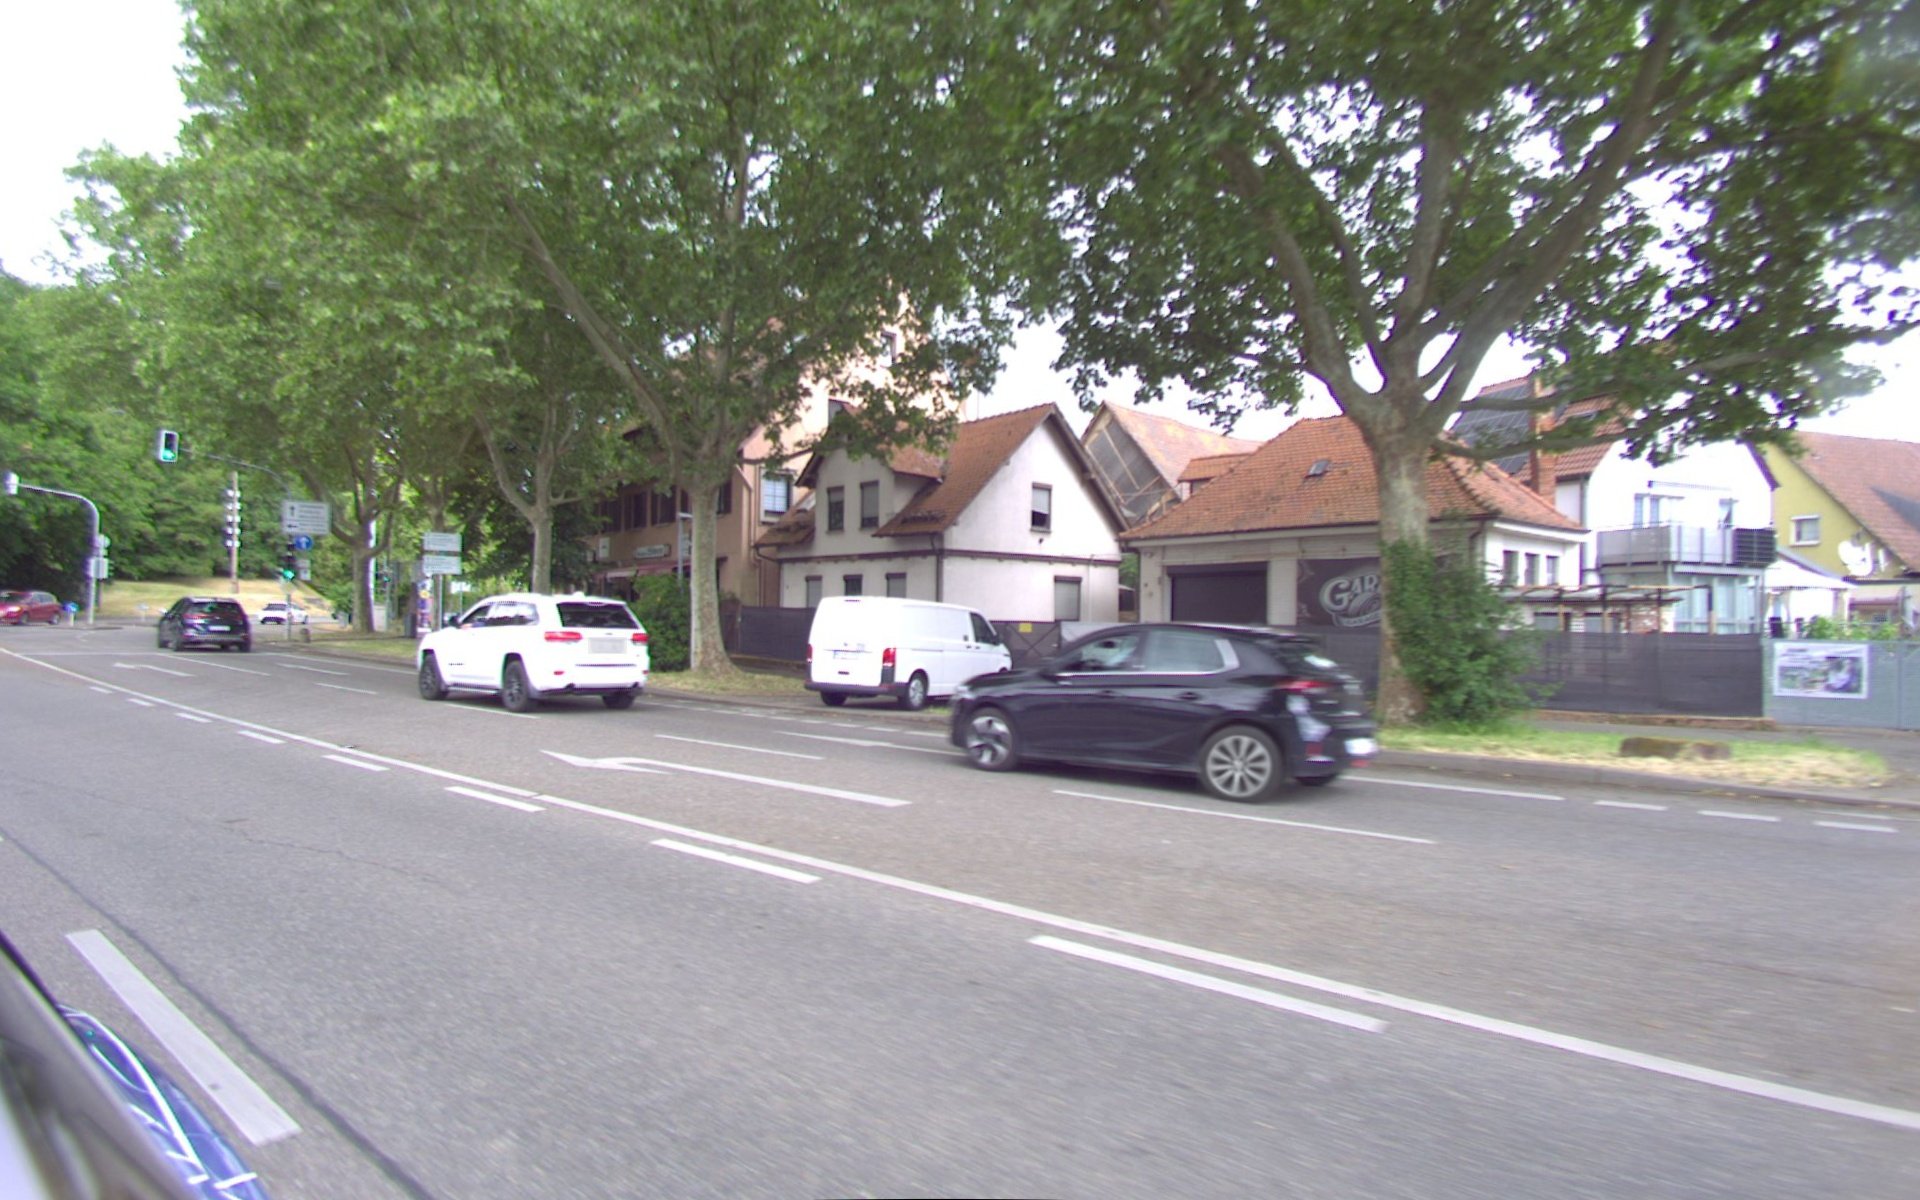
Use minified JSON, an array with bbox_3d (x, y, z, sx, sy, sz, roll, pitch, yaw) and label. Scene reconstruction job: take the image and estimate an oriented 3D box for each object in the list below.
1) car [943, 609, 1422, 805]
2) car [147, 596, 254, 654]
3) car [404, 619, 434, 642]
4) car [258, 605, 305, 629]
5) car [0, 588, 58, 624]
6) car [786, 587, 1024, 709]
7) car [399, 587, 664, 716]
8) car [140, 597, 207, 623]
[{"bbox_3d":[1.850,0.853,9.114,3.945,1.393,1.553,-2,-4,39],"label":"car"},{"bbox_3d":[-23.390,0.764,31.116,4.414,1.599,1.777,-1,-4,42],"label":"car"},{"bbox_3d":[-32.698,1.846,61.153,1.458,1.320,3.410,3,-3,-28],"label":"car"},{"bbox_3d":[-45.307,1.123,67.653,1.737,1.477,4.035,3,-2,-22],"label":"car"},{"bbox_3d":[-45.806,0.285,49.035,1.647,1.654,4.113,2,-1,-19],"label":"car"},{"bbox_3d":[-0.815,0.903,18.924,2.074,1.946,5.194,0,-3,27],"label":"car"},{"bbox_3d":[-6.944,0.786,16.165,4.748,1.777,1.892,-1,-4,40],"label":"car"},{"bbox_3d":[-50.498,0.646,65.046,1.755,1.580,4.009,2,-1,-11],"label":"car"}]
